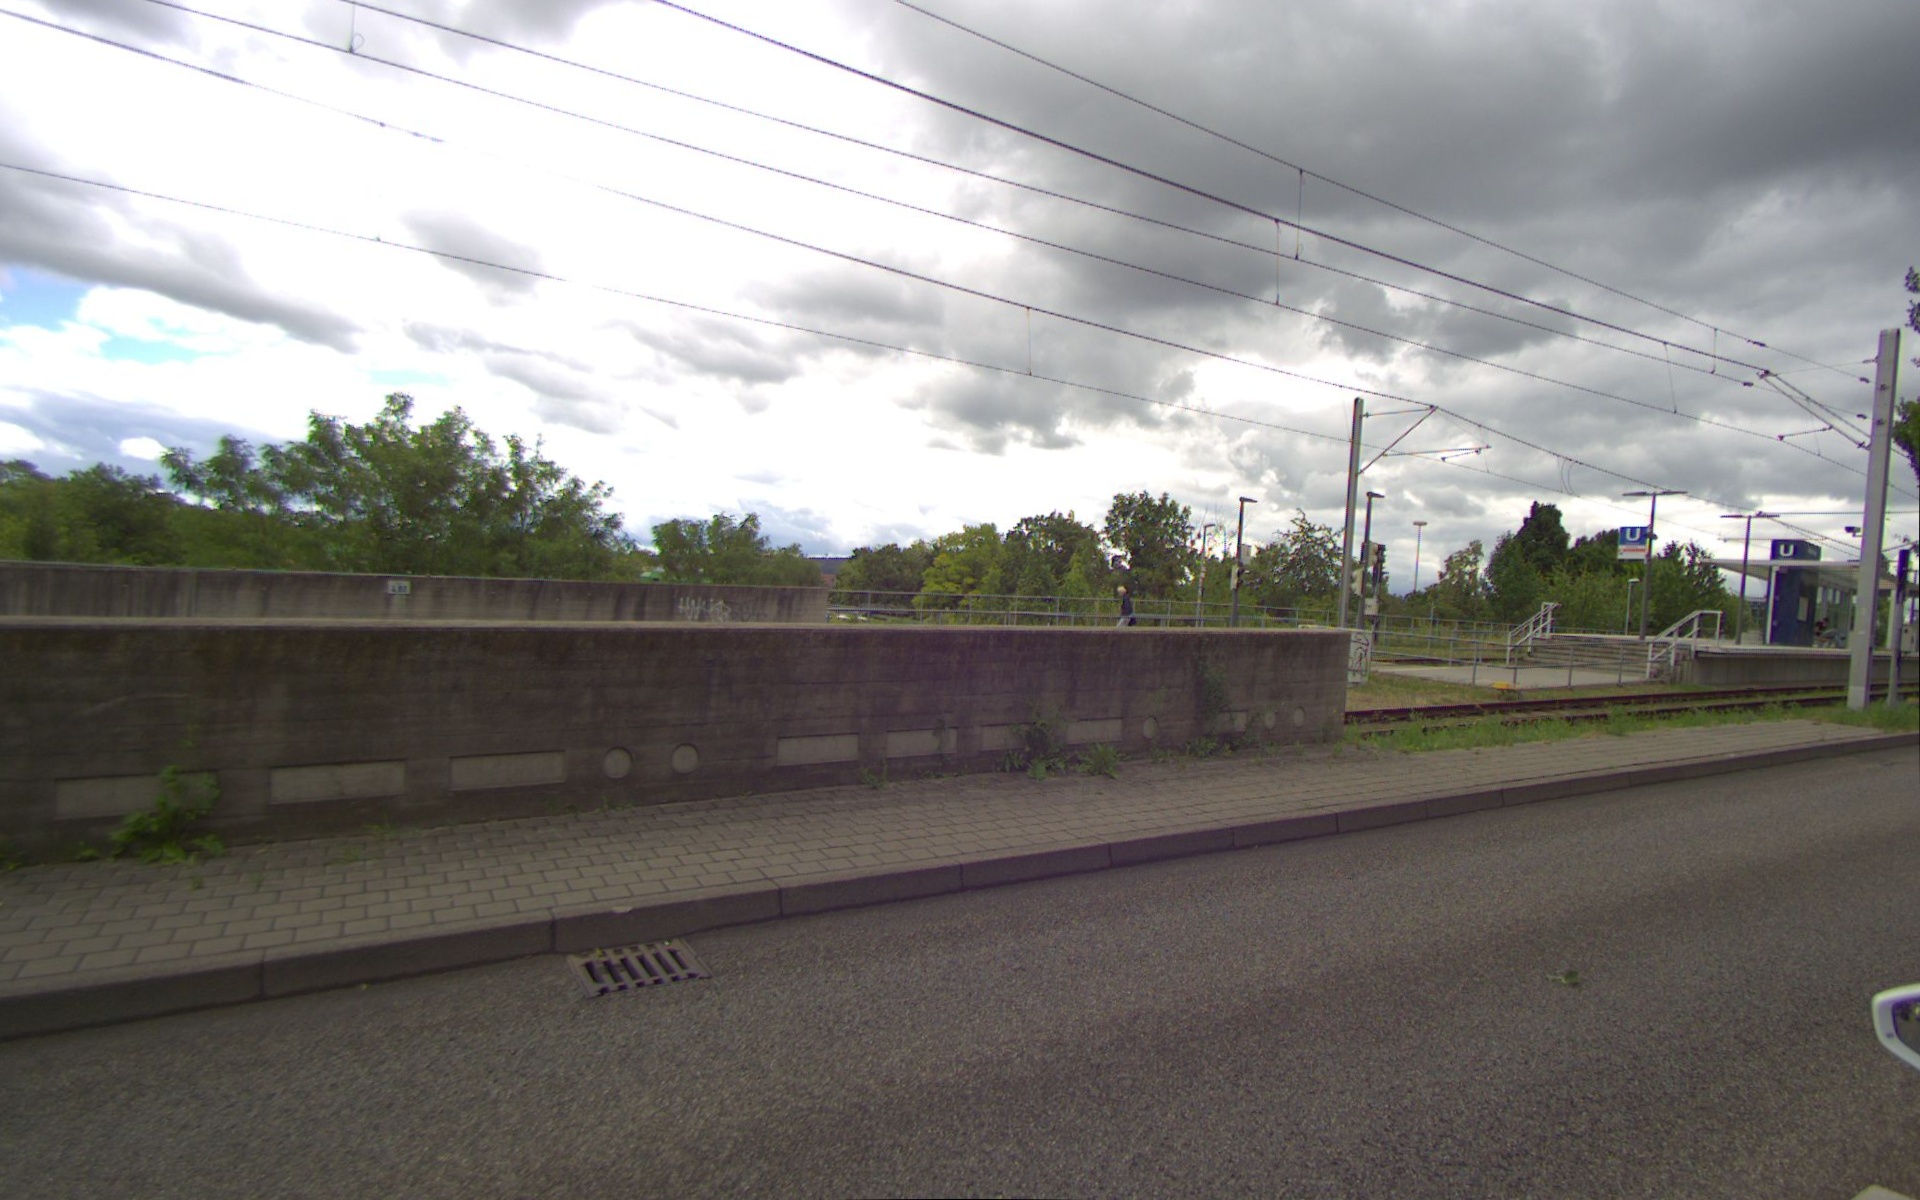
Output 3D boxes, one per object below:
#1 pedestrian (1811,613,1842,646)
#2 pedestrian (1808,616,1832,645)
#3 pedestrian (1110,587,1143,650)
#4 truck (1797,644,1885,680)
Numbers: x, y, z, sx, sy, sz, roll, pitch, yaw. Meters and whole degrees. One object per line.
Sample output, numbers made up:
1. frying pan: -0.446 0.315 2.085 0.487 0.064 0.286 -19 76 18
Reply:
1. pedestrian: 33.465 1.137 38.806 0.659 1.215 0.756 3 0 -36
2. pedestrian: 33.990 1.198 39.696 0.466 1.093 0.603 2 0 -36
3. pedestrian: 4.418 0.498 26.671 0.638 1.646 0.505 2 0 -31
4. truck: 102.733 7.130 117.231 2.662 3.647 7.201 2 0 -31
